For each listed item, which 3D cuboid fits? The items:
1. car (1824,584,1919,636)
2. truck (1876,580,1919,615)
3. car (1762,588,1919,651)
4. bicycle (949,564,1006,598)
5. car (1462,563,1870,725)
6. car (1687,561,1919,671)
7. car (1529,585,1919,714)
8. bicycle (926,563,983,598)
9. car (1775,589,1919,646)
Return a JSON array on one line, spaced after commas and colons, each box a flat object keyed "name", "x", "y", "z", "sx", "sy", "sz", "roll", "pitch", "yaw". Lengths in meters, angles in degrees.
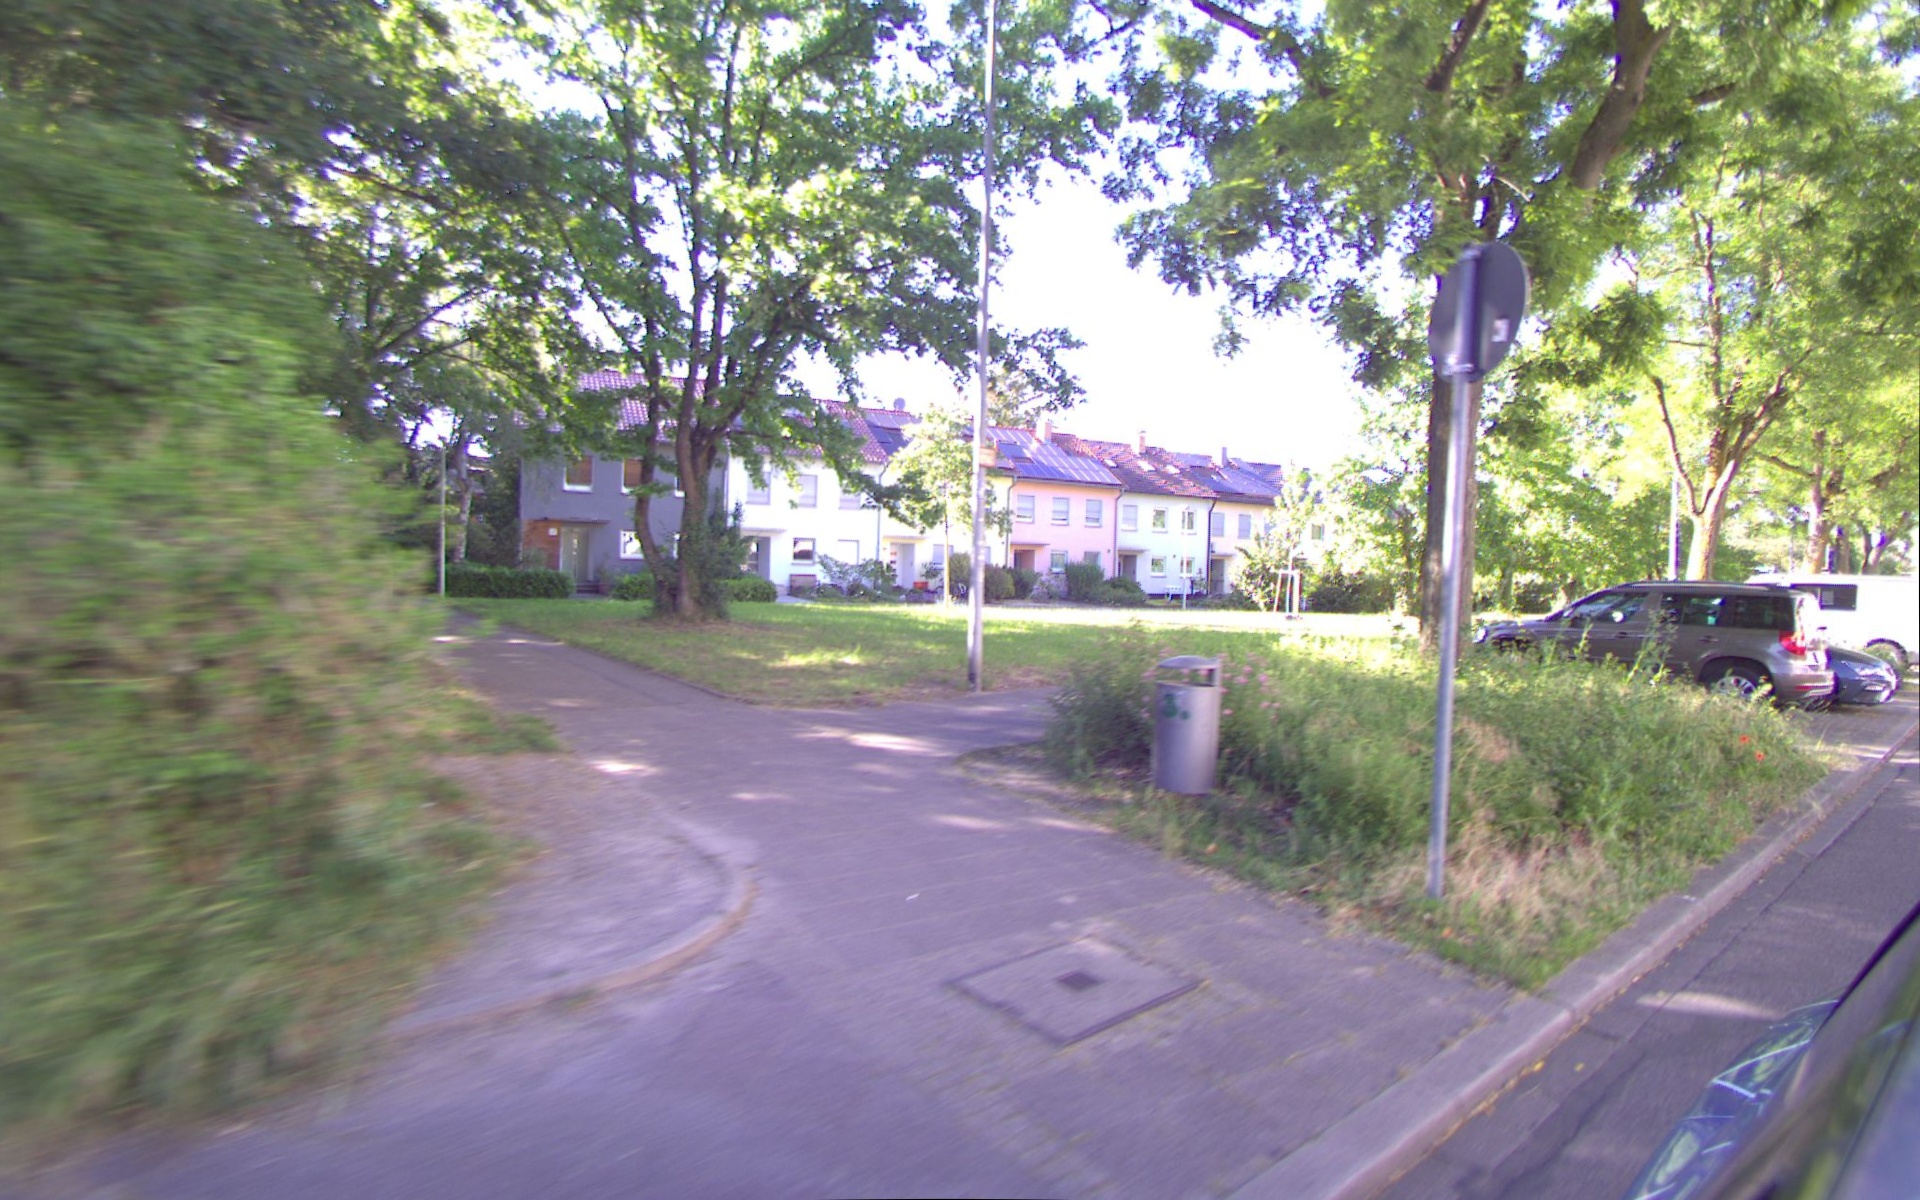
[{"name": "car", "x": 34.593, "y": 0.382, "z": 37.255, "sx": 1.716, "sy": 1.785, "sz": 4.046, "roll": 0, "pitch": 2, "yaw": -44}, {"name": "truck", "x": 84.202, "y": -0.280, "z": 90.737, "sx": 2.756, "sy": 2.835, "sz": 8.142, "roll": 6, "pitch": 4, "yaw": 41}, {"name": "car", "x": 25.434, "y": 0.530, "z": 28.725, "sx": 1.608, "sy": 1.452, "sz": 3.916, "roll": 1, "pitch": 4, "yaw": -41}, {"name": "bicycle", "x": 0.764, "y": -0.834, "z": 44.930, "sx": 0.810, "sy": 1.461, "sz": 2.915, "roll": 0, "pitch": 1, "yaw": -41}, {"name": "car", "x": 9.335, "y": 0.448, "z": 13.681, "sx": 1.743, "sy": 1.716, "sz": 4.159, "roll": 1, "pitch": 3, "yaw": -40}, {"name": "car", "x": 18.693, "y": 0.287, "z": 21.836, "sx": 1.986, "sy": 2.041, "sz": 4.461, "roll": 1, "pitch": 3, "yaw": -41}, {"name": "car", "x": 11.284, "y": 0.616, "z": 15.156, "sx": 1.745, "sy": 1.431, "sz": 4.459, "roll": 1, "pitch": 3, "yaw": -42}, {"name": "bicycle", "x": -0.268, "y": -0.860, "z": 44.712, "sx": 0.810, "sy": 1.492, "sz": 2.915, "roll": 0, "pitch": 1, "yaw": -41}, {"name": "car", "x": 27.459, "y": 0.528, "z": 30.374, "sx": 1.717, "sy": 1.489, "sz": 4.484, "roll": 0, "pitch": 3, "yaw": -44}]
